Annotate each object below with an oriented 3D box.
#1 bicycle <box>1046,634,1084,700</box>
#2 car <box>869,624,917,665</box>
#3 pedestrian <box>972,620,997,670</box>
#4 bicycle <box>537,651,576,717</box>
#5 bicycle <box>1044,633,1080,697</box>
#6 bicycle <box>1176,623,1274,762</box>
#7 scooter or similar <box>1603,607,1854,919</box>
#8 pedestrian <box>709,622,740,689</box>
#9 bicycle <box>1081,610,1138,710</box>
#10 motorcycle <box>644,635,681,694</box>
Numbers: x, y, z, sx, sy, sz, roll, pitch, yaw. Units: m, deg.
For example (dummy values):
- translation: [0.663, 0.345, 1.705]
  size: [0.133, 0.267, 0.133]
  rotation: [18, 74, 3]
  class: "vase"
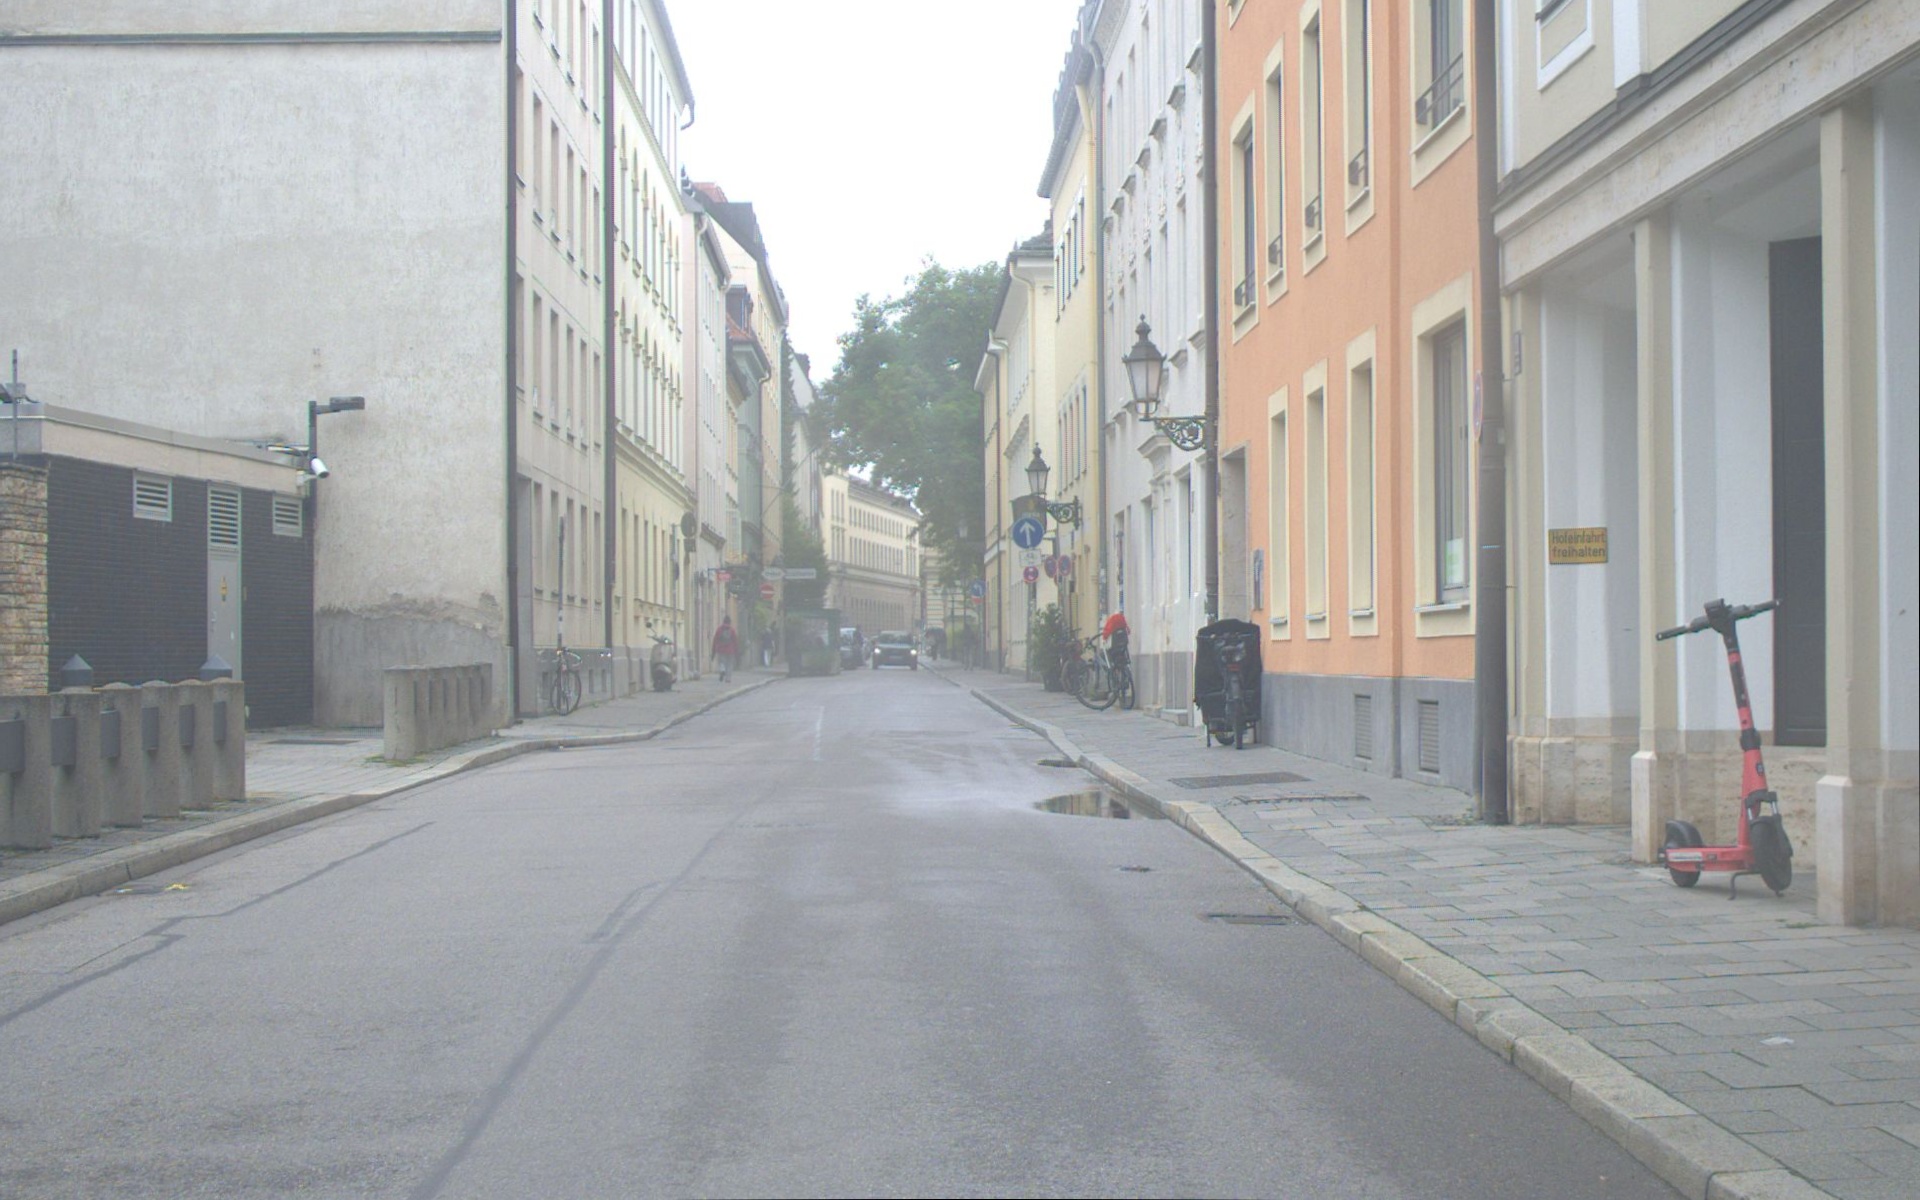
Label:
- translation: [1.858, 1.180, 61.055]
  size: [0.565, 1.133, 1.987]
  rotation: [-2, -1, 0]
  class: "bicycle"
- translation: [-2.652, 1.773, 136.080]
  size: [1.812, 1.588, 4.000]
  rotation: [0, -1, -2]
  class: "car"
- translation: [0.877, 1.619, 123.655]
  size: [0.880, 1.796, 1.046]
  rotation: [1, -1, 0]
  class: "pedestrian"
- translation: [-5.950, 1.236, 50.740]
  size: [0.320, 0.941, 1.574]
  rotation: [3, -1, 1]
  class: "bicycle"
- translation: [1.863, 1.190, 62.994]
  size: [0.565, 1.133, 1.684]
  rotation: [-2, -1, 0]
  class: "bicycle"
- translation: [2.530, 0.864, 33.031]
  size: [0.679, 1.236, 2.382]
  rotation: [-4, 0, 1]
  class: "bicycle"
- translation: [3.268, 0.667, 14.713]
  size: [0.464, 1.254, 1.277]
  rotation: [-2, 1, -15]
  class: "scooter or similar"
- translation: [-6.001, 1.412, 87.703]
  size: [0.765, 1.702, 0.785]
  rotation: [0, -1, -3]
  class: "pedestrian"
- translation: [2.163, 0.857, 49.974]
  size: [0.713, 1.391, 2.121]
  rotation: [-3, -1, 1]
  class: "bicycle"
- translation: [-5.962, 1.293, 69.022]
  size: [0.602, 1.170, 1.708]
  rotation: [1, -1, -1]
  class: "motorcycle"
